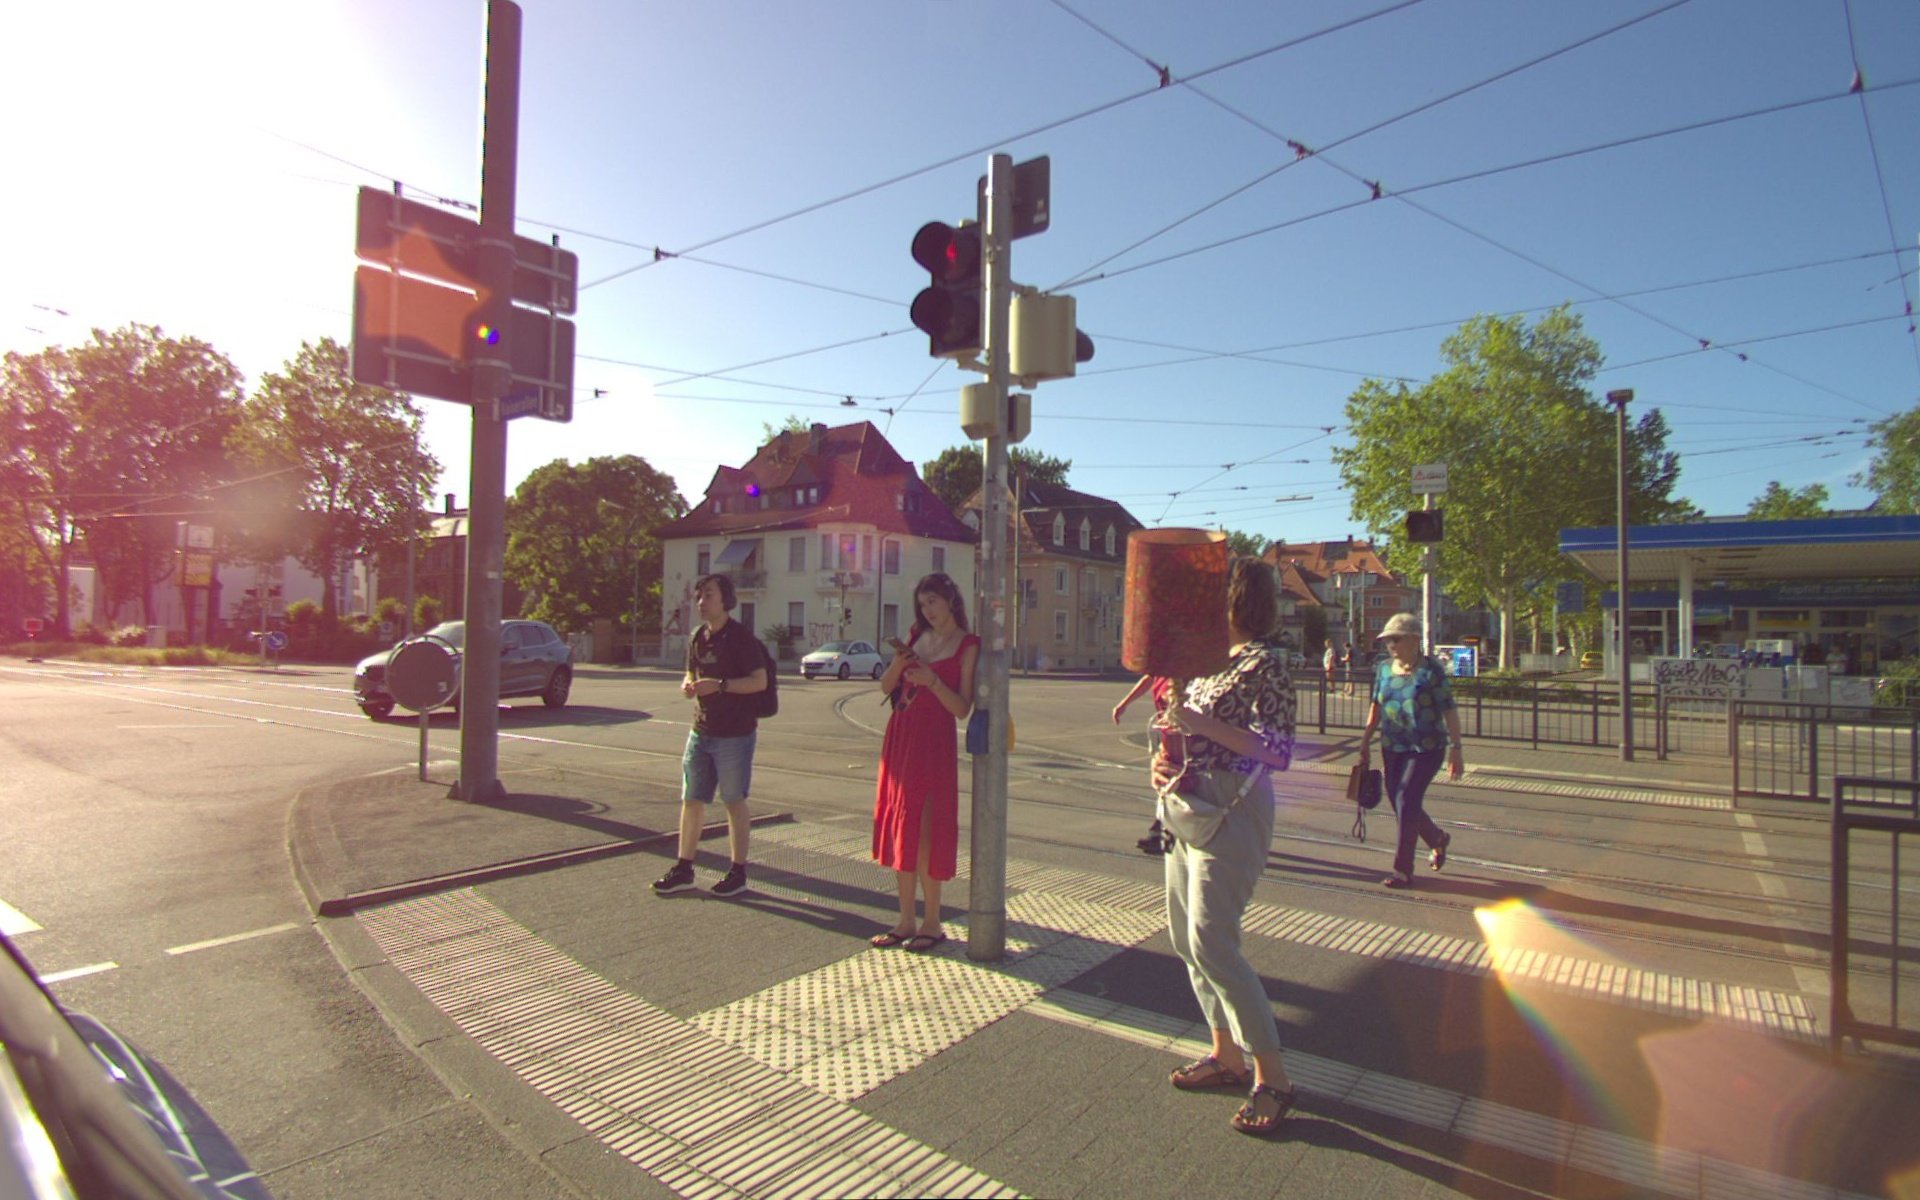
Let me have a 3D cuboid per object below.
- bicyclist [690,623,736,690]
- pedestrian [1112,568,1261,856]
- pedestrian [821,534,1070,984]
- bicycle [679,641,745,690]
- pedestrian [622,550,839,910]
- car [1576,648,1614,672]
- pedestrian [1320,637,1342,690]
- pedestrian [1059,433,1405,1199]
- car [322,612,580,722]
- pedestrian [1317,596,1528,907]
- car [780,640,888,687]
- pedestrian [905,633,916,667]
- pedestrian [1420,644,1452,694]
[{"bbox_3d":[-7.175,1.629,29.432,0.982,1.897,1.000,0,-2,9],"label":"bicyclist"},{"bbox_3d":[1.572,0.734,7.024,0.807,1.846,0.643,-1,-3,39],"label":"pedestrian"},{"bbox_3d":[-0.054,0.617,4.387,0.775,1.703,0.734,-1,-3,39],"label":"pedestrian"},{"bbox_3d":[-7.173,1.877,29.460,1.011,1.367,2.372,0,-2,9],"label":"bicycle"},{"bbox_3d":[-1.207,0.631,5.360,0.775,1.703,0.789,-1,-3,39],"label":"pedestrian"},{"bbox_3d":[44.976,4.201,71.677,1.910,1.431,4.225,-1,0,37],"label":"car"},{"bbox_3d":[12.820,2.191,34.973,0.486,1.783,0.522,3,-3,-42],"label":"pedestrian"},{"bbox_3d":[0.789,0.527,2.935,0.775,1.841,0.629,-1,-3,39],"label":"pedestrian"},{"bbox_3d":[-8.718,1.084,17.894,1.956,1.682,4.613,0,-1,5],"label":"car"},{"bbox_3d":[2.825,0.851,6.194,1.007,1.703,0.793,-1,-3,39],"label":"pedestrian"},{"bbox_3d":[-4.606,2.315,37.610,1.990,1.616,4.233,0,-2,27],"label":"car"},{"bbox_3d":[-2.557,2.566,52.380,0.408,1.756,0.412,-1,-3,36],"label":"pedestrian"},{"bbox_3d":[14.507,2.098,30.843,0.798,1.495,0.759,-1,-3,34],"label":"pedestrian"}]
